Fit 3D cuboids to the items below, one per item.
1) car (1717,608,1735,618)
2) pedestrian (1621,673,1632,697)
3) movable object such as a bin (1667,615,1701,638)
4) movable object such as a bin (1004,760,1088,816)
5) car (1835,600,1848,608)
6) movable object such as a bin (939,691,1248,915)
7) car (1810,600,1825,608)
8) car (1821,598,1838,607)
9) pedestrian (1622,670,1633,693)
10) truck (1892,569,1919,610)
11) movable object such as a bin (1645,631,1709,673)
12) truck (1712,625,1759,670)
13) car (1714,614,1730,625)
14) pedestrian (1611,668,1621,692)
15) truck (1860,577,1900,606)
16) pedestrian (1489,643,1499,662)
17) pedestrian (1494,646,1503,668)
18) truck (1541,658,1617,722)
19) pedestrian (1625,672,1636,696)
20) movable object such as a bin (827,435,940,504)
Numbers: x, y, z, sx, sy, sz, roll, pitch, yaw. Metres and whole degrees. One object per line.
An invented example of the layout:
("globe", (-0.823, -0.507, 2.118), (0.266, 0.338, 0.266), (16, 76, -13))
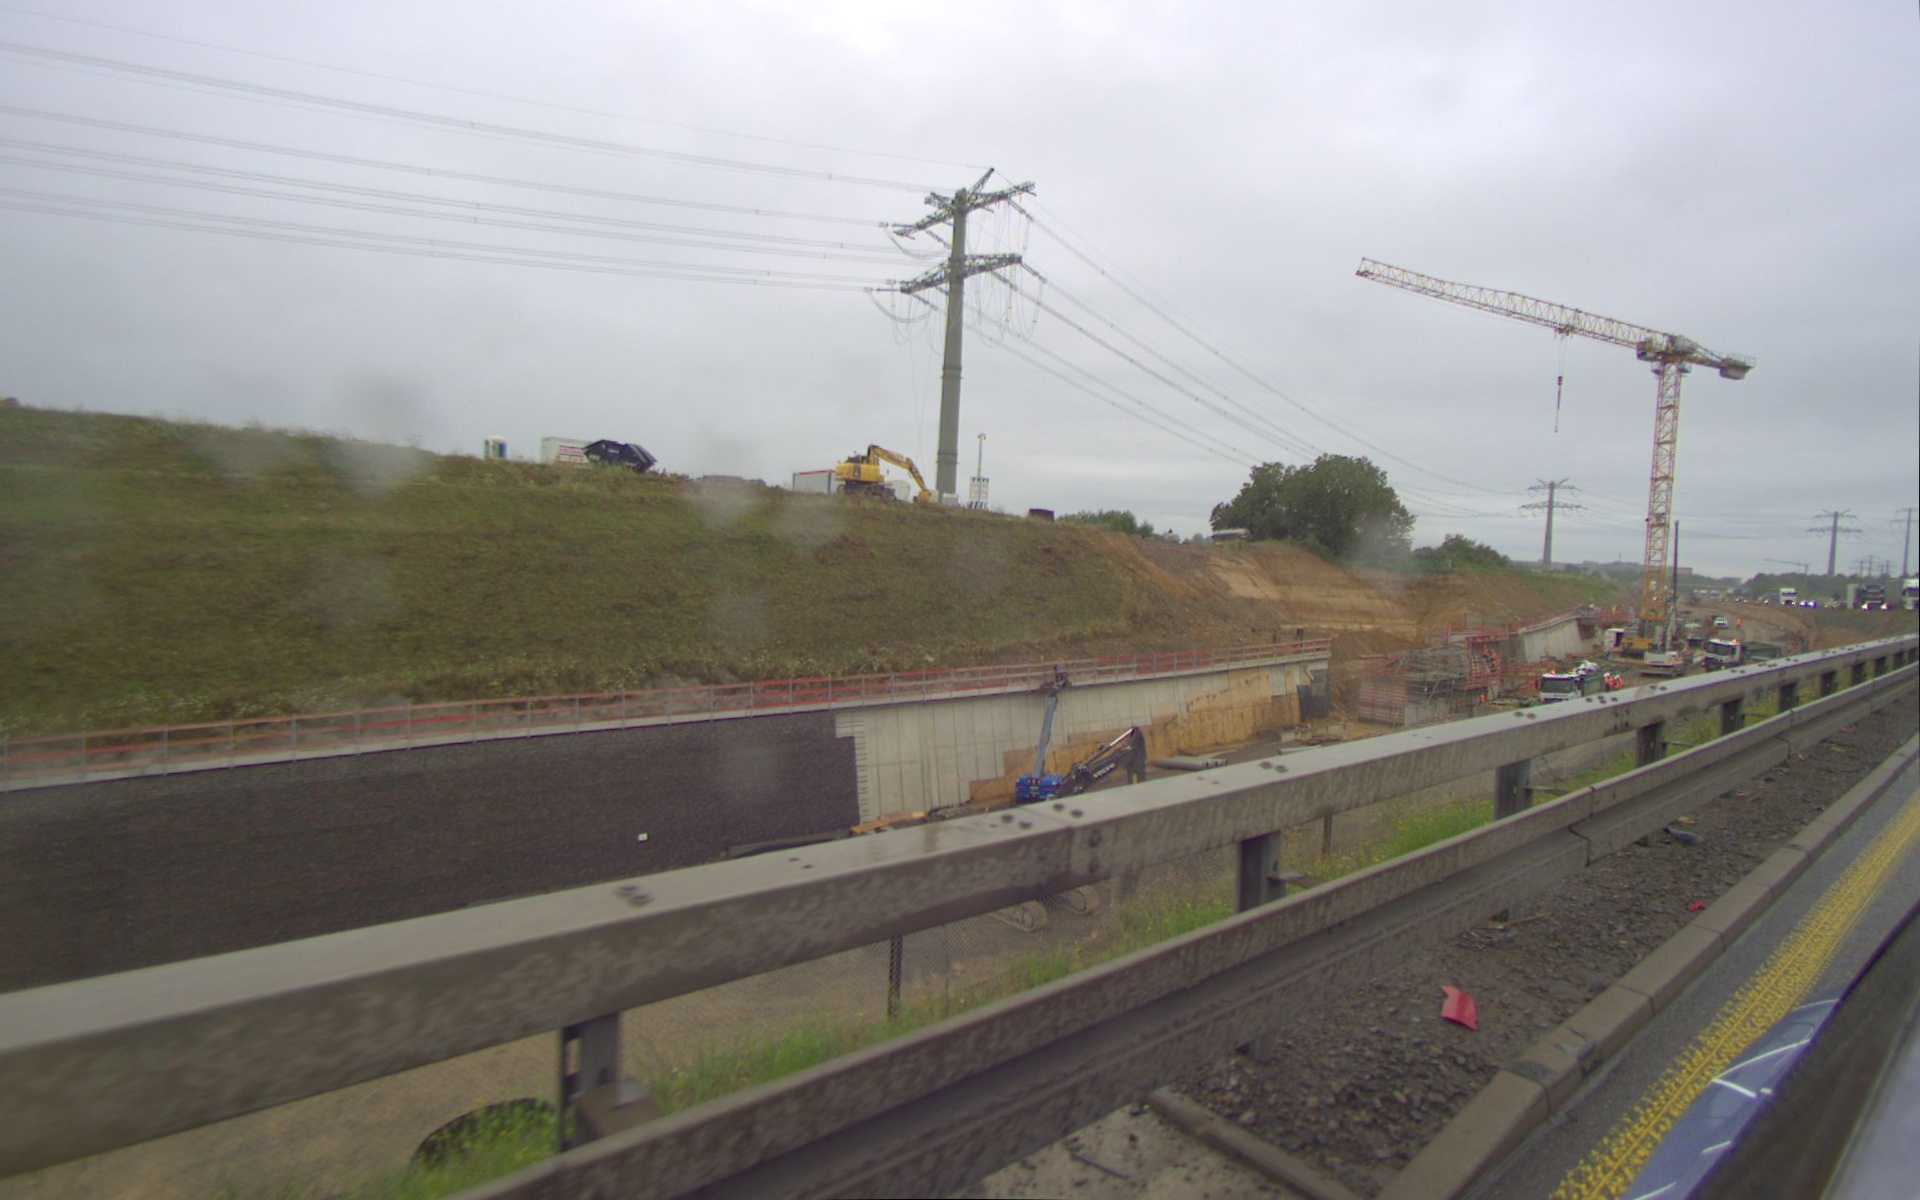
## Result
("car", (139.381, 2.376, 184.060), (2.343, 1.638, 4.788), (2, 2, 41))
("pedestrian", (56.770, 7.226, 86.180), (0.601, 1.928, 0.605), (3, 2, 42))
("movable object such as a bin", (107.538, 3.879, 150.295), (3.493, 2.915, 3.940), (8, 6, 41))
("movable object such as a bin", (4.134, 8.939, 48.409), (2.515, 1.935, 3.207), (-2, -1, 43))
("car", (170.896, 0.786, 196.156), (1.783, 1.445, 3.940), (-1, 0, 42))
("movable object such as a bin", (5.439, 7.141, 38.817), (11.885, 5.740, 4.901), (-4, 1, -41))
("car", (156.381, 0.750, 184.616), (1.780, 1.445, 3.947), (-1, 0, 37))
("car", (143.320, 0.346, 166.809), (1.779, 1.445, 3.948), (-1, 0, 36))
("pedestrian", (56.477, 6.880, 85.650), (0.602, 1.791, 0.474), (6, 4, 42))
("truck", (106.723, -1.180, 112.453), (4.303, 4.399, 13.206), (-1, 0, 41))
("movable object such as a bin", (70.013, 5.021, 98.819), (6.534, 3.466, 3.516), (-2, 2, -39))
("truck", (76.772, 4.603, 100.170), (3.348, 3.583, 8.784), (1, 3, 40))
("car", (121.792, 3.091, 161.733), (1.853, 1.638, 4.020), (2, 2, 41))
("pedestrian", (56.814, 6.928, 87.624), (0.601, 1.928, 0.474), (4, 3, 42))
("truck", (129.192, -1.117, 142.156), (3.529, 3.943, 8.220), (-1, 0, 38))
("pedestrian", (51.684, 5.048, 97.909), (0.570, 1.827, 0.490), (-3, -3, -8))
("pedestrian", (52.691, 5.605, 98.999), (0.487, 2.127, 0.474), (-6, -4, 42))
("truck", (46.041, 6.549, 75.133), (8.927, 3.655, 2.705), (-2, 4, -45))
("pedestrian", (57.361, 7.208, 86.571), (0.601, 1.928, 0.474), (3, 2, 42))
("movable object such as a bin", (-5.589, -9.509, 74.762), (8.033, 4.258, 3.106), (0, 1, -40))
